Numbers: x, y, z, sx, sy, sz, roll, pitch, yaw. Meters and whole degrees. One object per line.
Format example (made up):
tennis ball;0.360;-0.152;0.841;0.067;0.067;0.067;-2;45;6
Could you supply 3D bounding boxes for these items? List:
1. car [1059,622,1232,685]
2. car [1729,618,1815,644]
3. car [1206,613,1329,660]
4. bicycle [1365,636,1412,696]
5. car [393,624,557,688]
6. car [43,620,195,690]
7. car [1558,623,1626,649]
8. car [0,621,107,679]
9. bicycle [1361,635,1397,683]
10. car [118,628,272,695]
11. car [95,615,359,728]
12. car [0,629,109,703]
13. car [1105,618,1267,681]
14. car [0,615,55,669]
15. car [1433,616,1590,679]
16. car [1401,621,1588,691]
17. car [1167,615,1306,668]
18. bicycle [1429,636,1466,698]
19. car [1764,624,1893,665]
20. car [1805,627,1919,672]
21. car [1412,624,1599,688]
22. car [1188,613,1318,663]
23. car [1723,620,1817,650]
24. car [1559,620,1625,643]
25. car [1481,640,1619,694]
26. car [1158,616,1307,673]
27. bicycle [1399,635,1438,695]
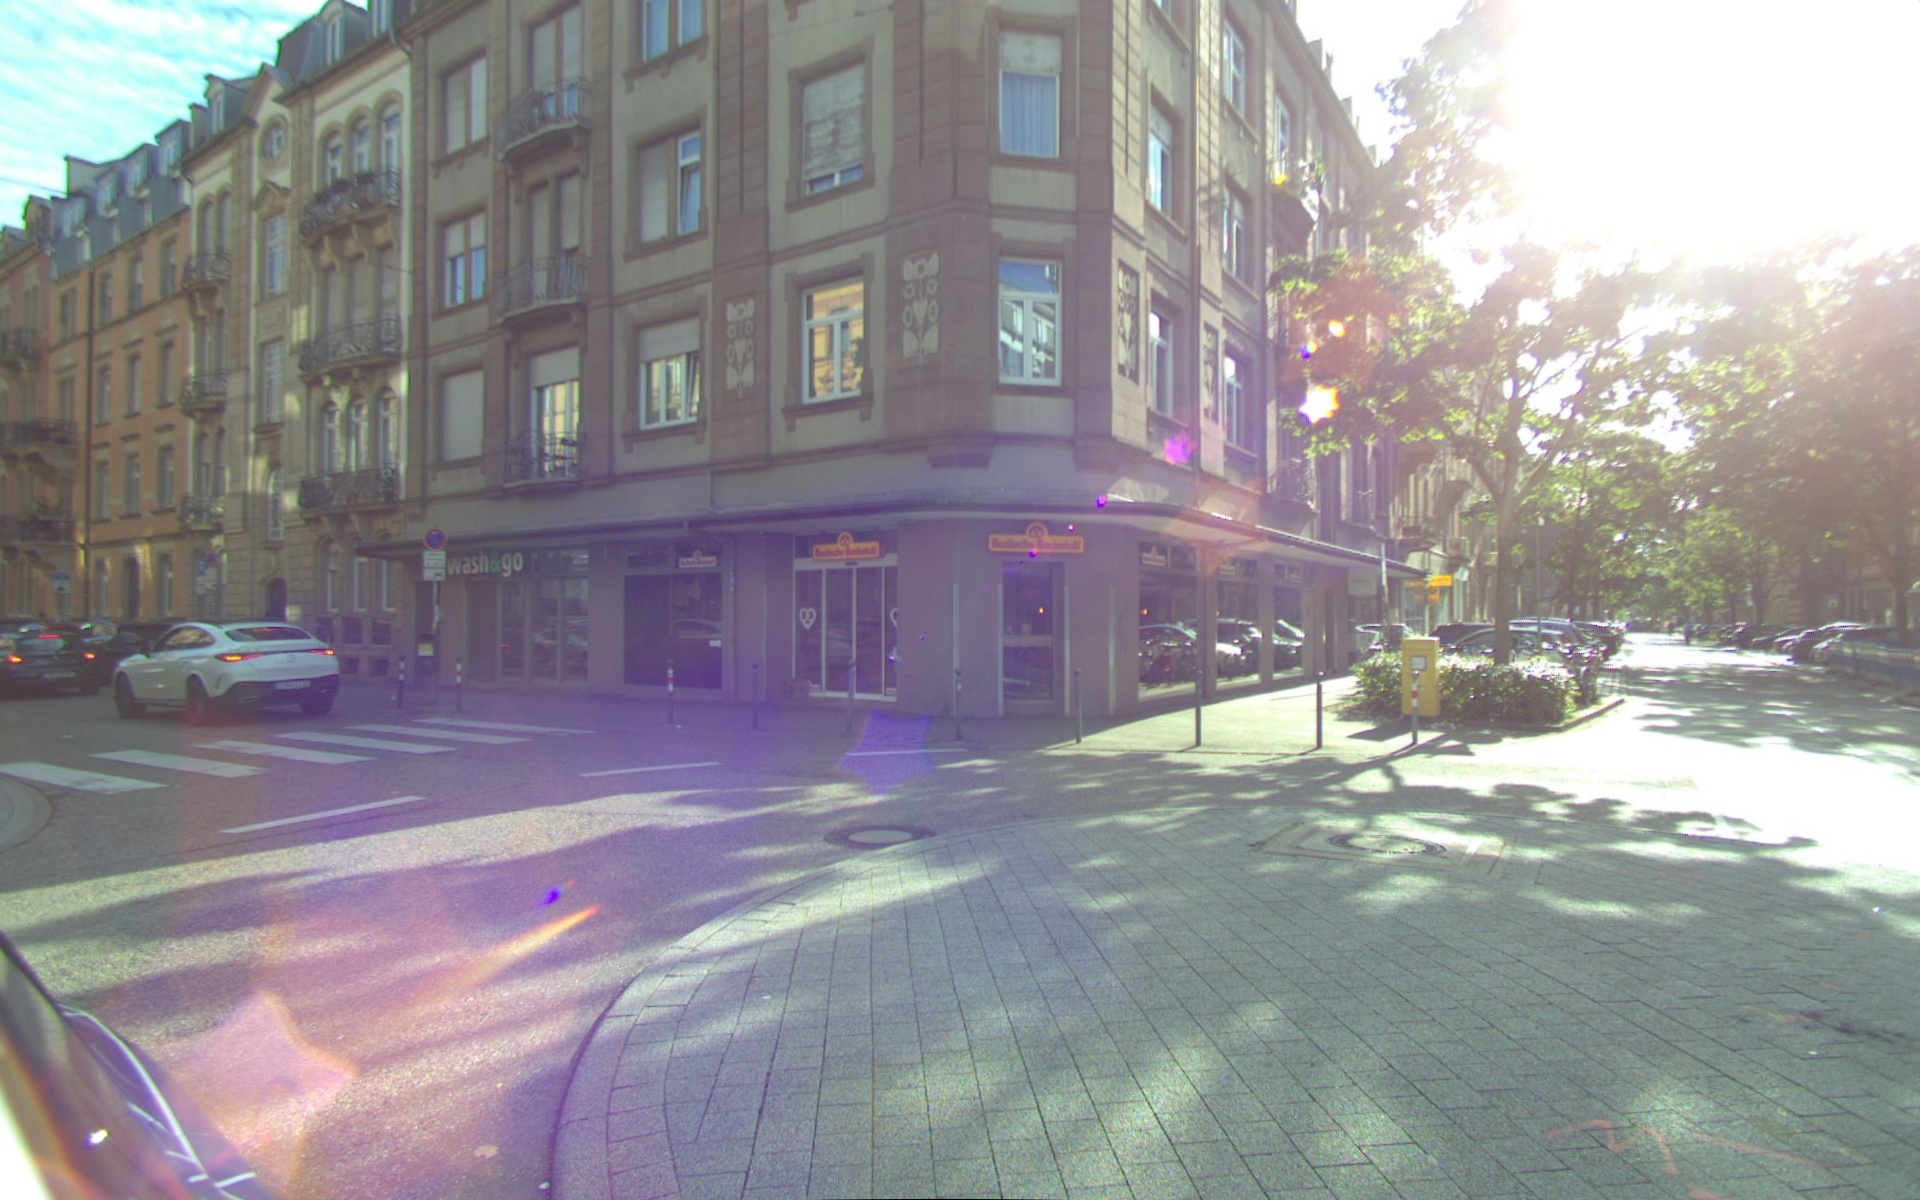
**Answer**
car;4.656;1.315;25.381;3.975;1.441;1.752;-1;0;24
car;50.924;1.949;63.553;3.989;1.582;1.815;-1;-1;34
car;10.864;1.265;35.750;3.975;1.563;1.752;-1;0;24
bicycle;8.906;1.334;20.984;0.577;1.143;2.406;-1;-2;30
car;-13.984;1.560;29.431;1.988;1.633;3.967;-1;0;24
car;-21.481;1.326;25.807;4.387;1.596;1.841;-1;0;34
car;37.397;2.137;59.882;3.330;1.487;1.390;-1;-3;35
car;-26.511;1.404;29.228;4.120;1.508;1.743;-1;-1;33
bicycle;10.094;1.398;24.345;0.602;1.036;1.763;-1;0;29
car;-17.719;1.366;23.398;3.819;1.379;1.705;-1;-1;34
car;-12.357;1.128;16.982;4.828;1.647;1.978;-2;-2;33
car;-20.741;1.388;22.358;4.438;1.392;1.751;-1;1;33
car;6.035;1.300;27.034;3.975;1.563;1.752;-1;0;24
car;-30.804;1.320;32.220;4.325;1.610;1.745;-1;-1;31
car;15.287;1.278;28.099;3.690;1.608;1.559;-1;-1;35
car;12.579;1.278;23.902;3.692;1.487;1.557;-1;-1;37
car;8.647;1.280;31.671;3.975;1.563;1.752;-1;0;24
bicycle;9.855;1.309;20.410;0.477;1.143;2.406;-1;-2;30
car;36.608;1.849;42.720;4.002;1.614;1.852;-1;-1;45
car;35.077;1.852;38.754;4.002;1.614;1.852;-1;-1;45
car;13.924;1.382;25.923;4.064;1.487;1.559;-1;-1;35
car;9.832;1.273;33.963;3.975;1.563;1.752;-1;0;24
car;46.374;2.000;58.057;3.989;1.582;1.815;-1;-1;34
car;42.956;2.122;68.858;3.703;1.483;1.786;-1;-1;31
car;16.961;1.897;29.132;3.330;1.454;1.360;-1;-3;35
car;7.984;1.280;29.632;3.975;1.563;1.752;-1;0;24
bicycle;9.397;1.301;20.690;0.477;1.143;2.406;-1;-2;30
